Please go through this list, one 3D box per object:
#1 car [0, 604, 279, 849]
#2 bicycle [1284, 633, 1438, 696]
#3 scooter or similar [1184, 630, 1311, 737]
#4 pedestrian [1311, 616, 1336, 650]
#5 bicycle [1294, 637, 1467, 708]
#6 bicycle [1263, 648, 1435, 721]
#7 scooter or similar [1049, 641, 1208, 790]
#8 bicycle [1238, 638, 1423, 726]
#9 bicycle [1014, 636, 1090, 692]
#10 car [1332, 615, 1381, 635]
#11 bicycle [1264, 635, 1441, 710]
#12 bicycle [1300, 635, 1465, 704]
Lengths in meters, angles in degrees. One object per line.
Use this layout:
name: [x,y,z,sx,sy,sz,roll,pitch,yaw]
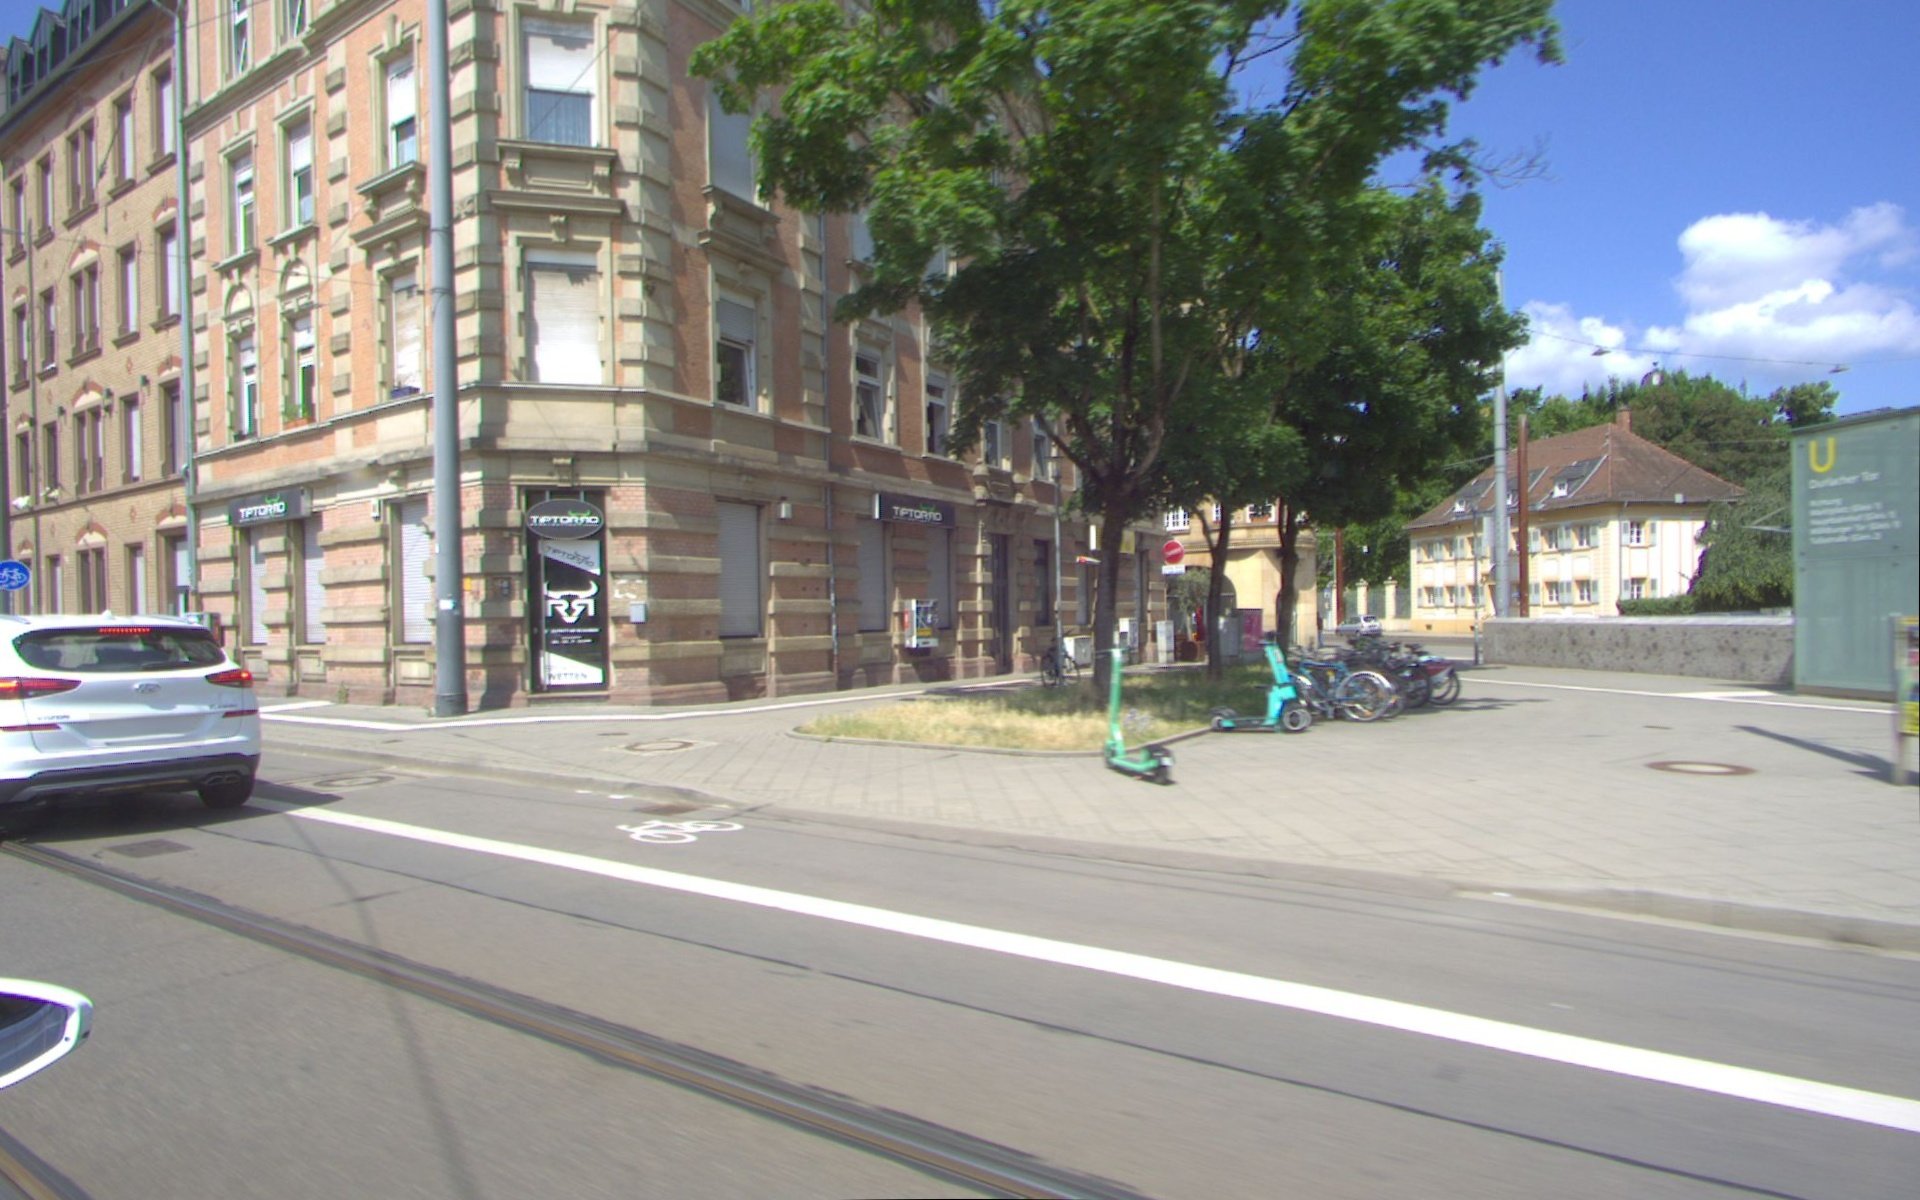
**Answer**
car: [-7.797,0.921,8.569,4.123,1.655,1.848,-1,-2,34]
bicycle: [7.392,1.166,18.539,2.540,1.067,0.789,-2,0,36]
scooter or similar: [3.600,1.013,12.500,1.368,1.219,0.947,-1,0,26]
pedestrian: [17.185,1.556,47.381,0.880,1.579,0.864,-1,0,4]
bicycle: [6.980,1.171,16.691,2.540,1.067,0.789,-2,0,36]
bicycle: [5.778,1.229,14.955,2.257,0.892,0.839,1,2,36]
scooter or similar: [1.523,0.990,9.035,1.073,1.195,0.943,-1,0,39]
bicycle: [5.180,1.111,14.049,2.234,1.096,1.021,-2,0,36]
bicycle: [1.911,1.290,20.695,0.755,1.064,1.639,-1,0,41]
car: [28.865,1.824,73.055,1.649,1.405,3.794,-1,-1,-9]
bicycle: [6.277,1.132,16.114,2.540,1.084,0.789,-2,0,36]
bicycle: [7.343,1.180,17.493,2.540,1.105,0.789,-2,0,36]
